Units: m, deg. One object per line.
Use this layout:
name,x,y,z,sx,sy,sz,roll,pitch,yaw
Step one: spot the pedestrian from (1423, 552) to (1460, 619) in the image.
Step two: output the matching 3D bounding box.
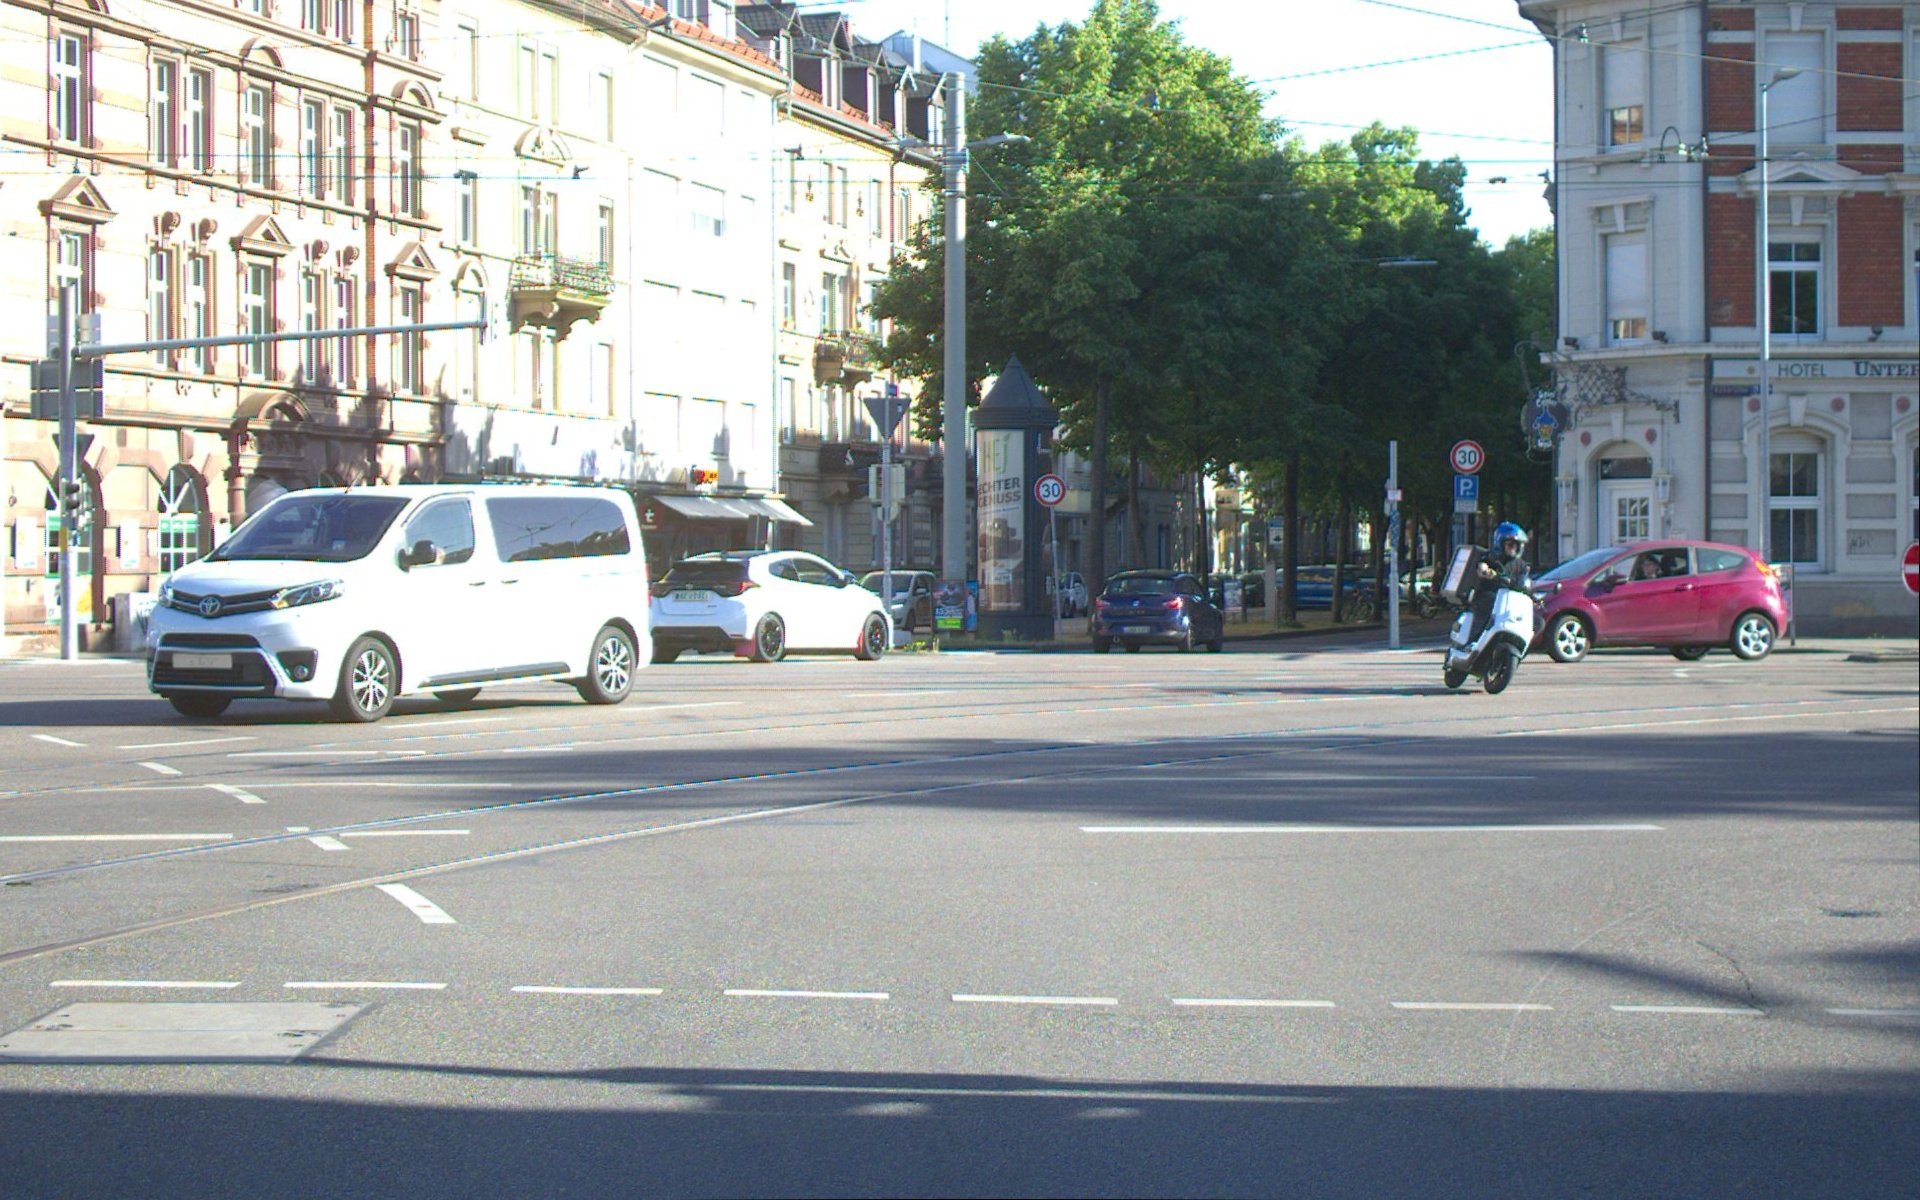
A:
pedestrian,14.512,-0.448,103.628,0.943,2.007,0.826,1,0,-4

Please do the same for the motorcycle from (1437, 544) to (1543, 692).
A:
motorcycle,4.947,0.153,32.214,0.794,1.329,2.142,1,1,4

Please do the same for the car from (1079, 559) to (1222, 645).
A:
car,3.275,0.009,58.459,1.826,1.398,3.998,0,1,12

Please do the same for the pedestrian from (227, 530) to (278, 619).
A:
pedestrian,-13.116,-0.472,63.740,0.568,1.636,0.792,1,0,23

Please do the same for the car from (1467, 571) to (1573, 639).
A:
car,13.457,0.105,82.451,1.758,1.550,3.996,1,1,20

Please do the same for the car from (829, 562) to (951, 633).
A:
car,-1.594,-0.072,79.736,1.804,1.570,3.888,1,1,15

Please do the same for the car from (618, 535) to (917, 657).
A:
car,-2.455,-0.081,44.786,1.896,1.449,4.001,0,2,33

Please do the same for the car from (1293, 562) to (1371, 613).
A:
car,12.632,-0.425,116.607,1.995,1.678,3.997,1,1,15

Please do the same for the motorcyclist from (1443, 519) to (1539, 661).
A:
motorcyclist,4.970,-0.099,32.229,0.787,1.296,1.018,1,0,4

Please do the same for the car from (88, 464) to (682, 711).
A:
car,-4.618,-0.094,28.515,1.997,1.848,5.207,0,0,30

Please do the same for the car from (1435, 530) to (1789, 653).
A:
car,7.840,-0.124,41.398,3.868,1.421,1.596,0,2,-17
